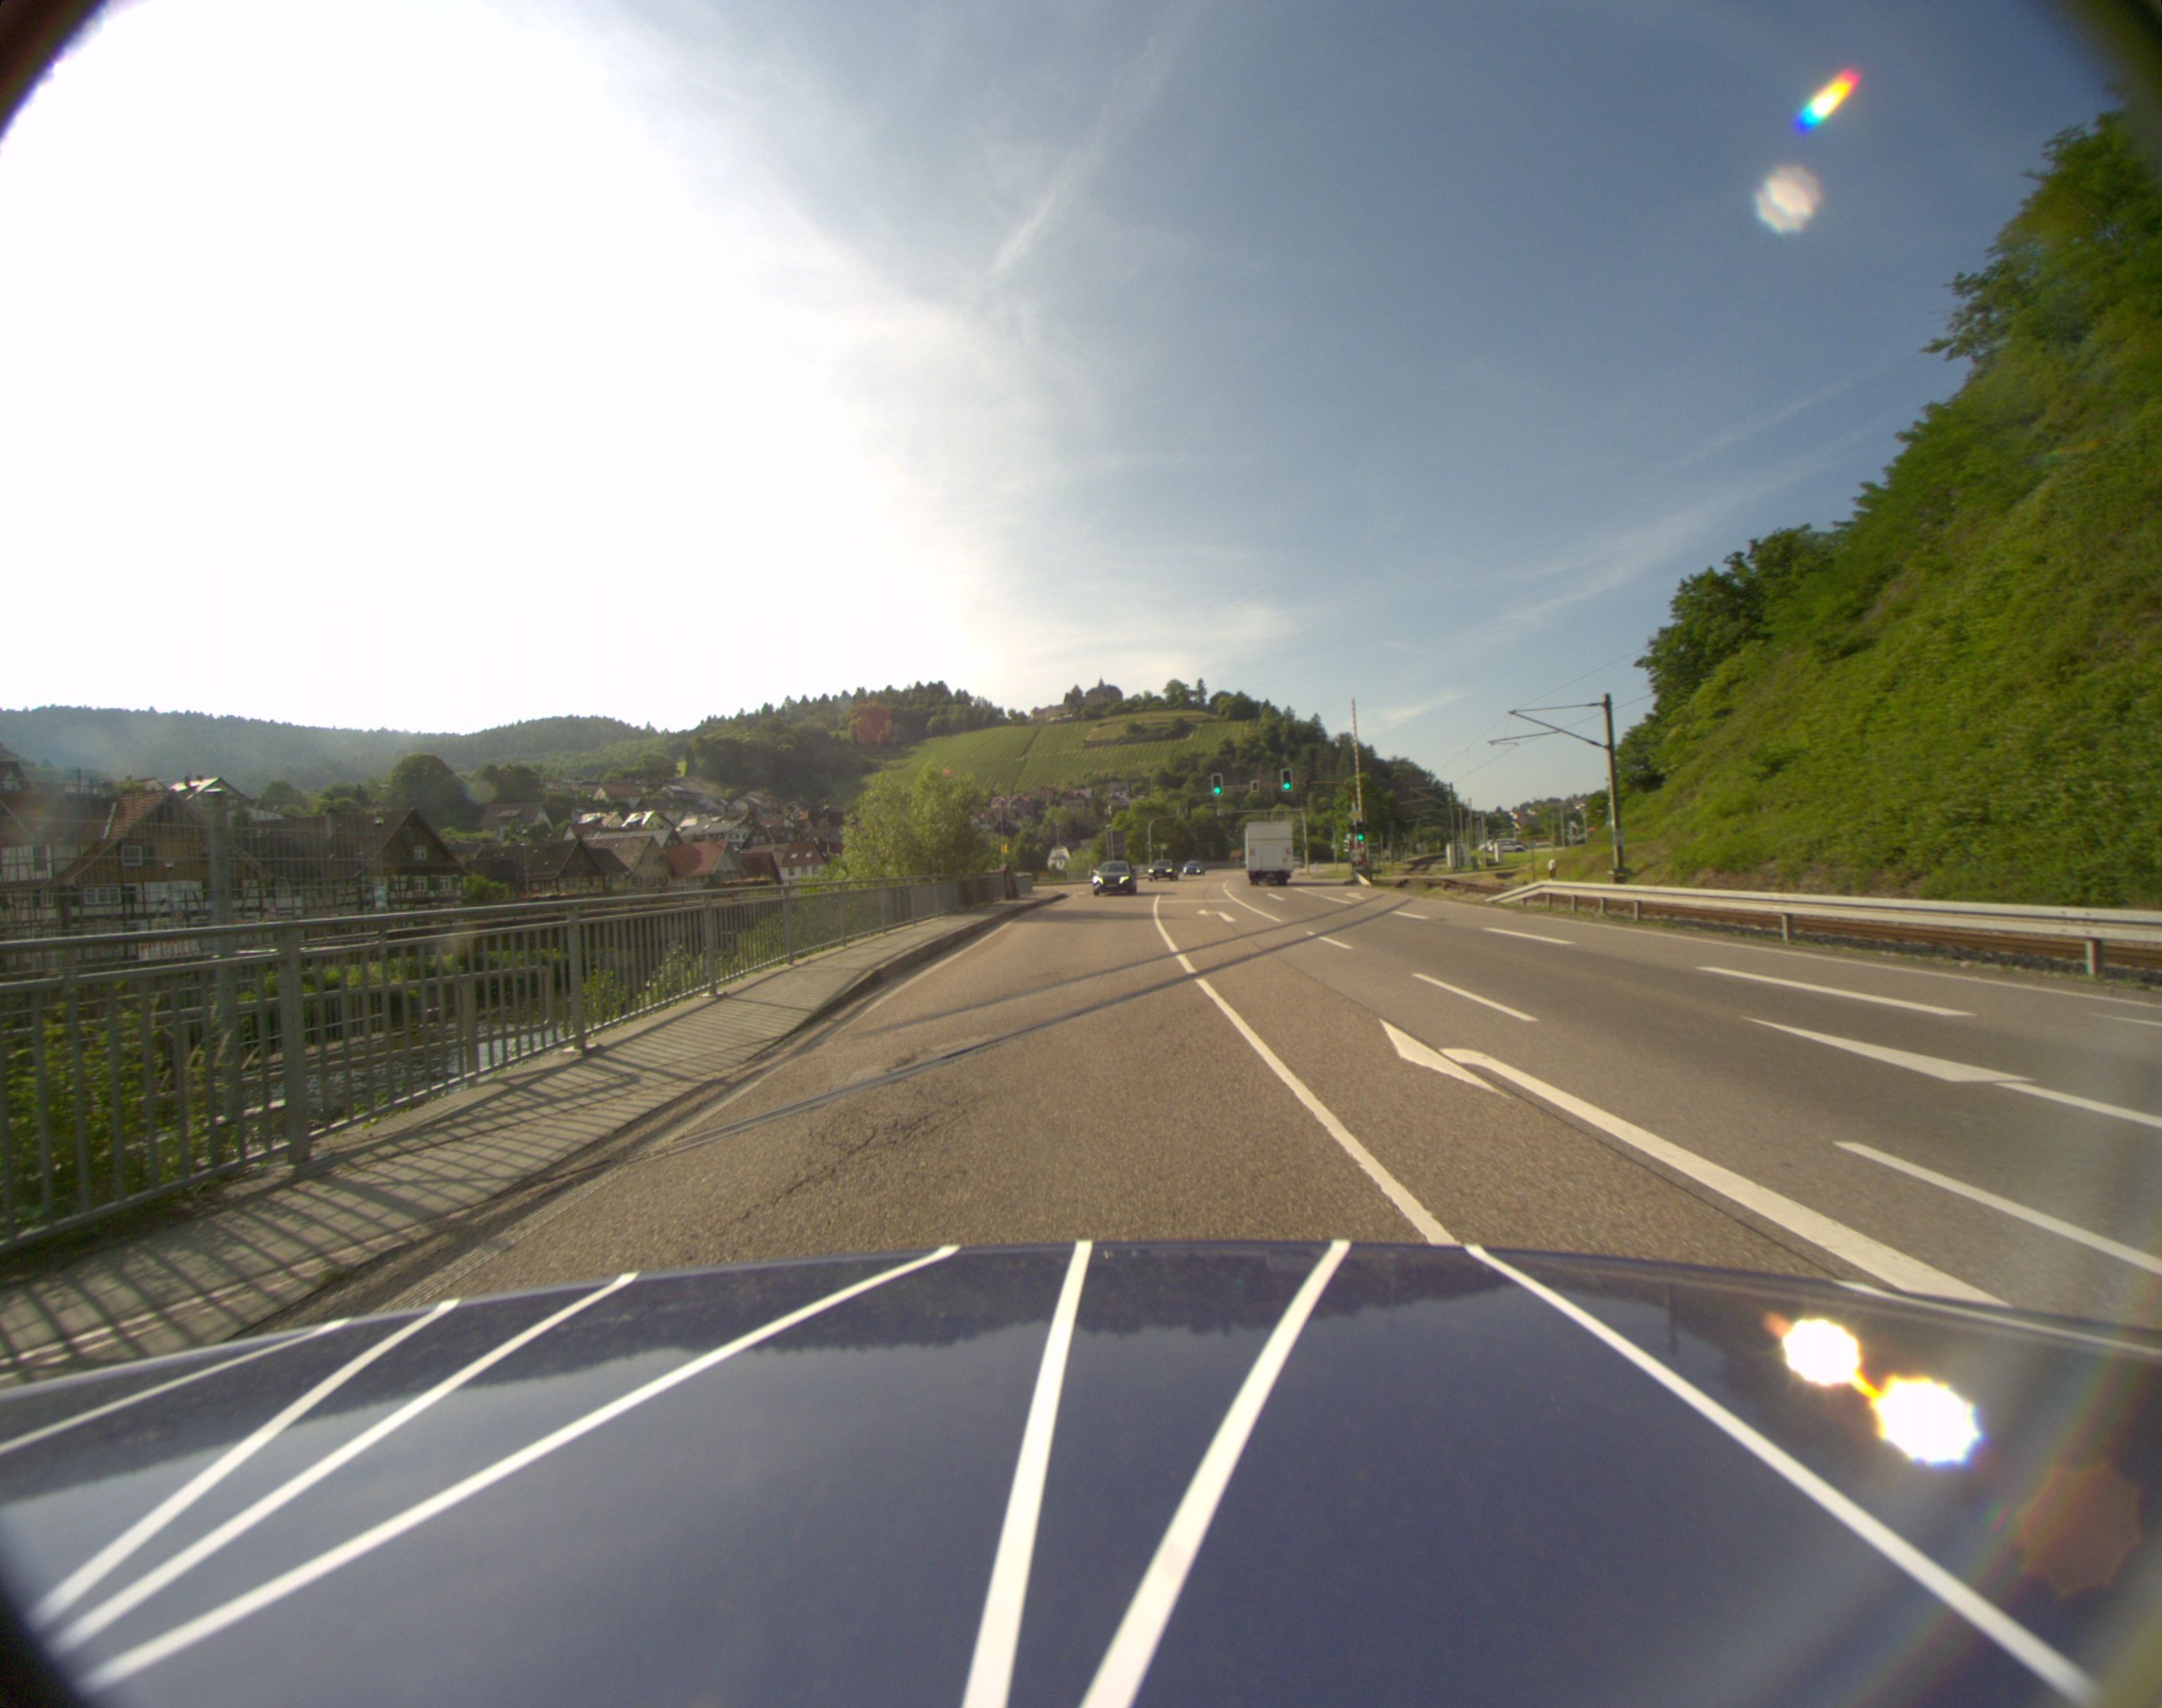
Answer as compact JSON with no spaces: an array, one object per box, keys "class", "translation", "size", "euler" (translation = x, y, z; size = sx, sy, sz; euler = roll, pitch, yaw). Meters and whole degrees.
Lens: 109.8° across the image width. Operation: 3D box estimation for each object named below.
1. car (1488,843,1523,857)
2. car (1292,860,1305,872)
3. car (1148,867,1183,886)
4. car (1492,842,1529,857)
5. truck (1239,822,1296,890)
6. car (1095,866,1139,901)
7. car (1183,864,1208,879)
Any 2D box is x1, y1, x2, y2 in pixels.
[{"class":"car","translation":[61.968,-0.580,111.031],"size":[4.442,1.792,2.004],"euler":[-2,-1,28]},{"class":"car","translation":[32.264,1.745,112.825],"size":[1.694,1.647,4.177],"euler":[-1,-1,18]},{"class":"car","translation":[6.645,1.716,59.530],"size":[1.996,1.384,4.006],"euler":[-1,-1,17]},{"class":"car","translation":[54.124,-0.557,95.803],"size":[3.990,1.739,1.644],"euler":[-2,-1,27]},{"class":"truck","translation":[11.565,0.179,47.742],"size":[2.902,3.776,8.902],"euler":[-1,-1,11]},{"class":"car","translation":[1.834,1.411,37.426],"size":[1.862,1.576,4.002],"euler":[-2,-1,6]},{"class":"car","translation":[11.743,1.783,77.980],"size":[1.865,1.482,4.006],"euler":[-2,-1,18]}]
